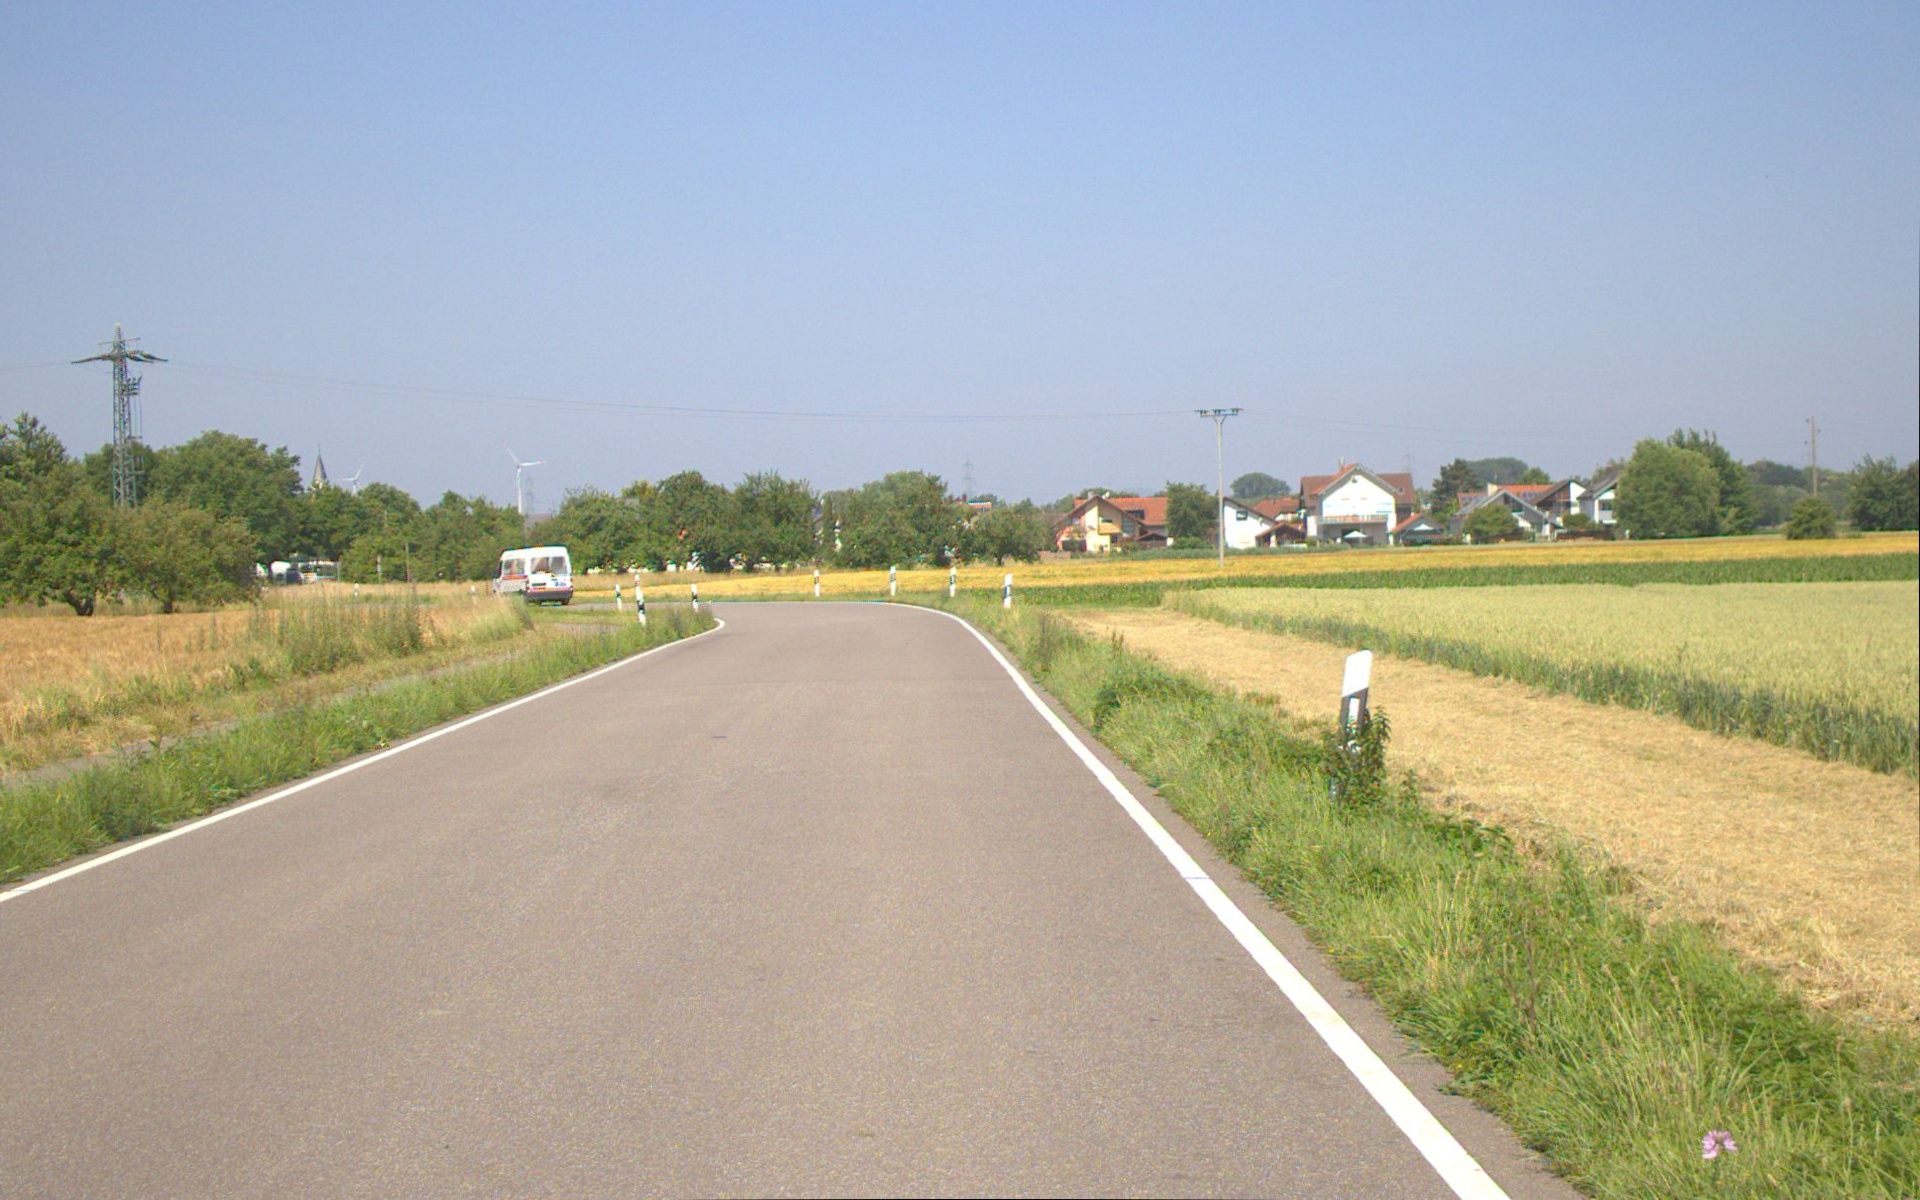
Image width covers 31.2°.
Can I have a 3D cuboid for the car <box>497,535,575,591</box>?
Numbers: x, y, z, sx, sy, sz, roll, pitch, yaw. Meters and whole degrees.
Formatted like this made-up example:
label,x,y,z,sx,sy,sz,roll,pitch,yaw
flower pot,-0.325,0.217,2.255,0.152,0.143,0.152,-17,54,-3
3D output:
label,x,y,z,sx,sy,sz,roll,pitch,yaw
car,-17.862,-1.532,144.730,1.993,2.258,4.727,-2,1,-23
